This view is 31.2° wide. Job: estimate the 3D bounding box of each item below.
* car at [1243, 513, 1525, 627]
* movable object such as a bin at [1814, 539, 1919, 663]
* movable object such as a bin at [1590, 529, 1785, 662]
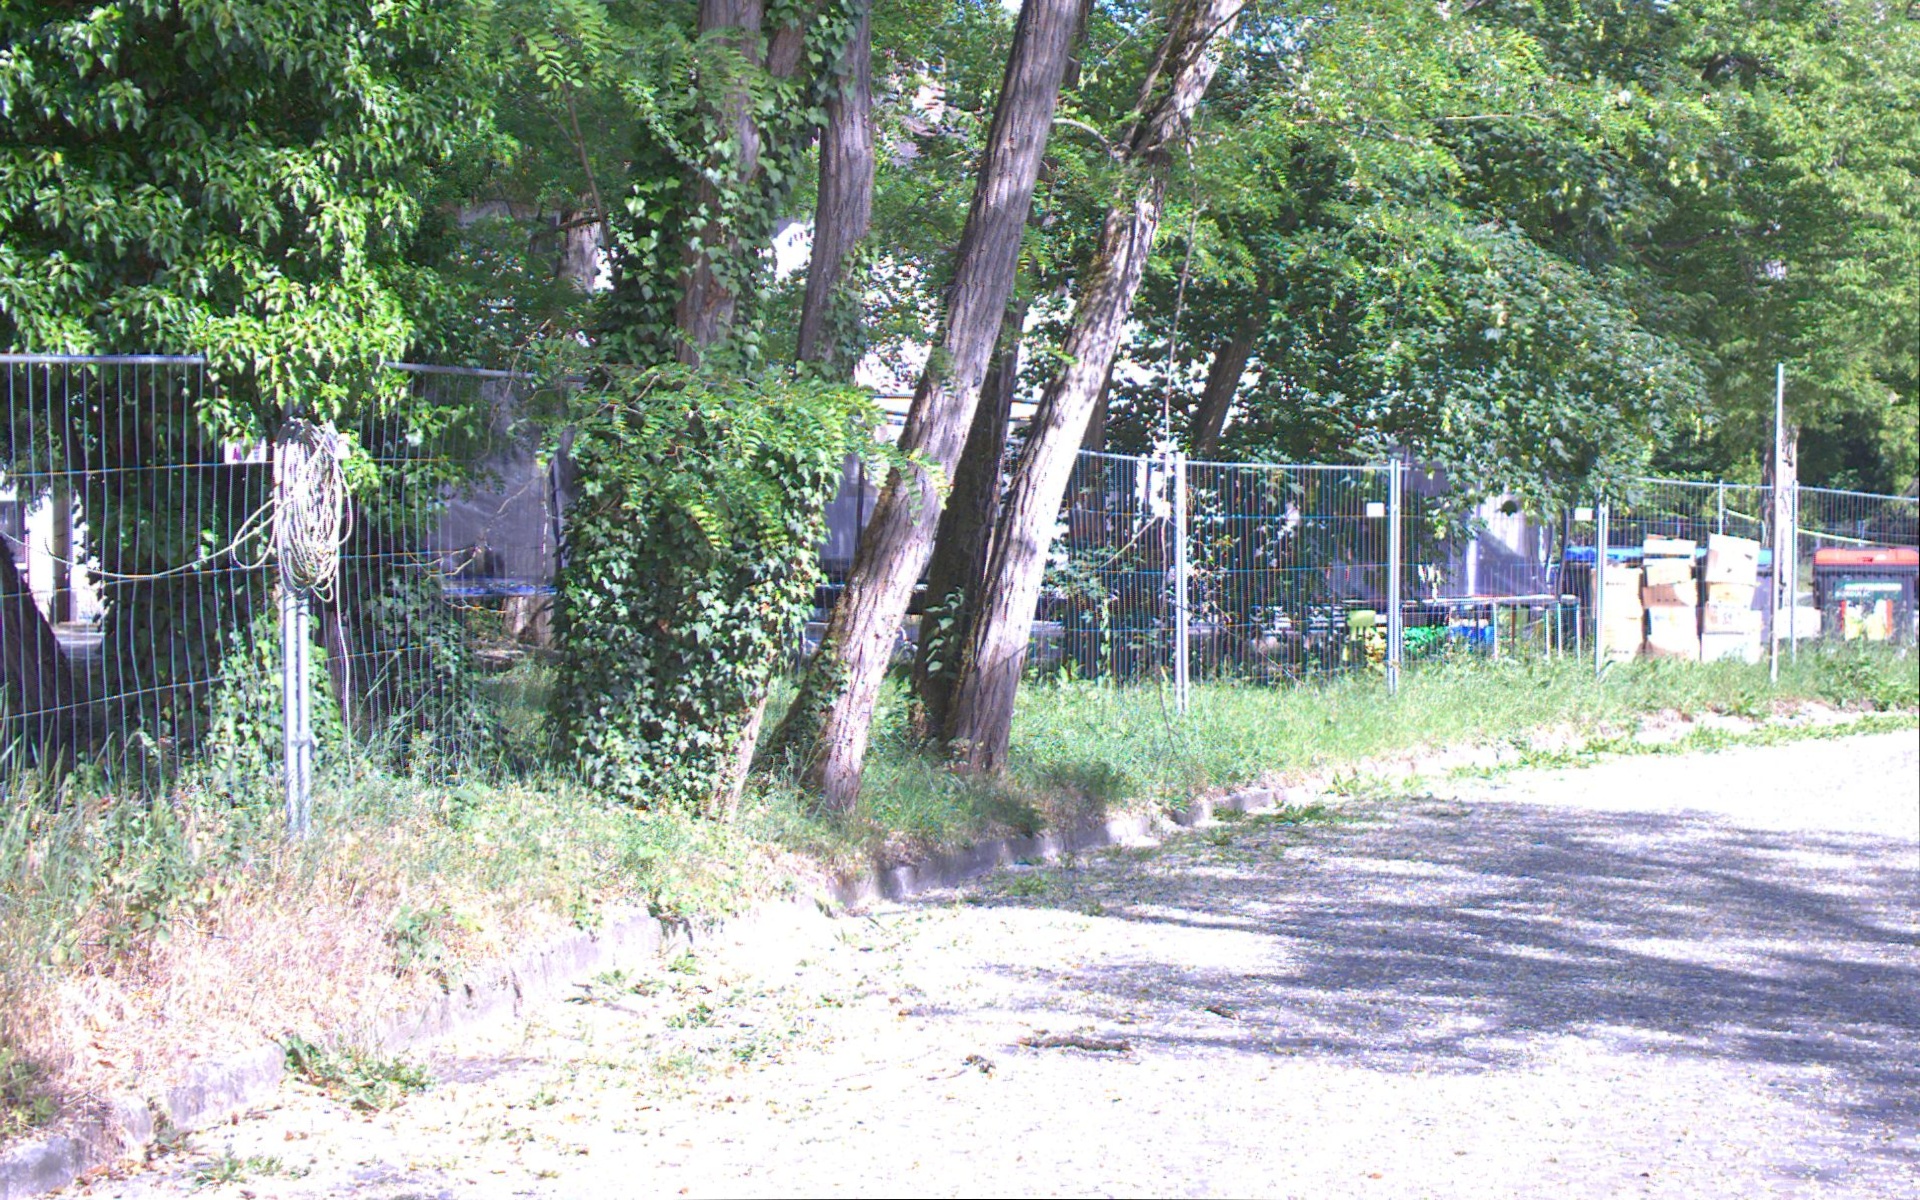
[{"bbox_3d":[7.445,-0.515,60.246,4.712,1.896,1.999,-1,0,12],"label":"car"},{"bbox_3d":[11.047,-0.001,41.585,1.338,1.479,0.806,0,1,10],"label":"movable object such as a bin"},{"bbox_3d":[8.850,-0.071,41.912,2.289,1.586,1.174,0,1,11],"label":"movable object such as a bin"}]
